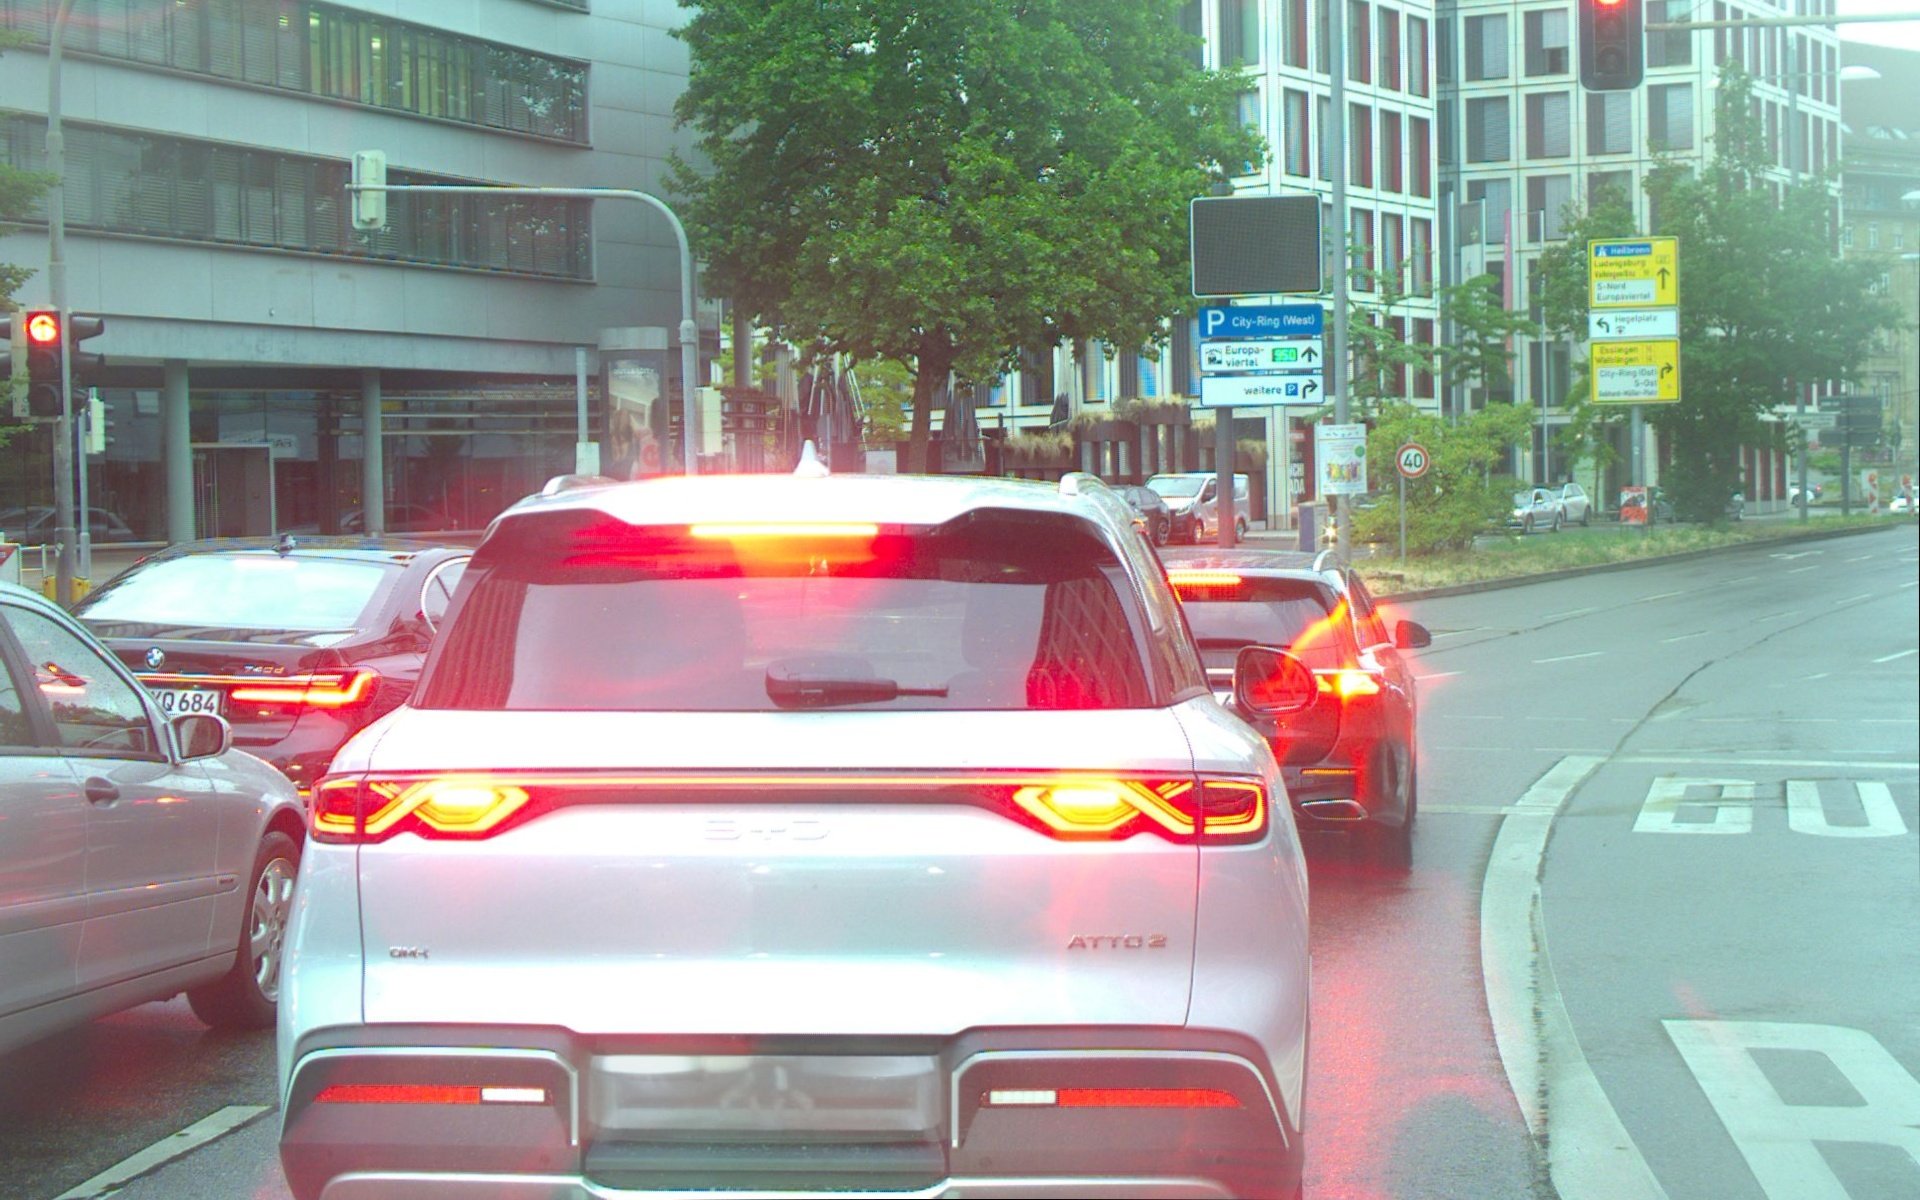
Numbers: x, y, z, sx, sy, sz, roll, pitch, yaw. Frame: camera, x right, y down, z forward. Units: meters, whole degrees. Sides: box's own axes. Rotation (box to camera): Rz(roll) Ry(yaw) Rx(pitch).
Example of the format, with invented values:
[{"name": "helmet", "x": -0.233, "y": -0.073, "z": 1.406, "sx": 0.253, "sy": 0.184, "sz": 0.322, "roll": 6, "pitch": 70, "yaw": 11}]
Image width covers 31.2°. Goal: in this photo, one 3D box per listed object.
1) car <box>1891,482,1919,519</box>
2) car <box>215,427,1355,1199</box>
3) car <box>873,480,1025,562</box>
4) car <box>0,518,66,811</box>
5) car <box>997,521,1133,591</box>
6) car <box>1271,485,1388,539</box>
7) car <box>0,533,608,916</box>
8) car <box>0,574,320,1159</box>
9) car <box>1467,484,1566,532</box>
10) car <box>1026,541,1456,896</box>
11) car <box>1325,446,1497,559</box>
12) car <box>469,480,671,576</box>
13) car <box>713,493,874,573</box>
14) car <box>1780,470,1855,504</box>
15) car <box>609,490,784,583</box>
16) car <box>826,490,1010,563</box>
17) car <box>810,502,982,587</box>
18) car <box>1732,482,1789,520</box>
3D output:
[{"name": "car", "x": 38.202, "y": -3.984, "z": 136.930, "sx": 1.633, "sy": 1.432, "sz": 3.903, "roll": 0, "pitch": 2, "yaw": 23}, {"name": "car", "x": -0.229, "y": 0.555, "z": 7.387, "sx": 1.776, "sy": 1.673, "sz": 4.000, "roll": 1, "pitch": 1, "yaw": 2}, {"name": "car", "x": -0.176, "y": -1.578, "z": 68.598, "sx": 1.645, "sy": 1.575, "sz": 4.081, "roll": 1, "pitch": 1, "yaw": 21}, {"name": "car", "x": -5.877, "y": 0.326, "z": 16.282, "sx": 1.707, "sy": 1.481, "sz": 3.998, "roll": 1, "pitch": 1, "yaw": 9}, {"name": "car", "x": 2.522, "y": -1.068, "z": 81.228, "sx": 1.633, "sy": 1.553, "sz": 4.588, "roll": 0, "pitch": 2, "yaw": 23}, {"name": "car", "x": 10.466, "y": -2.492, "z": 97.133, "sx": 1.996, "sy": 1.483, "sz": 3.994, "roll": 1, "pitch": 2, "yaw": 27}, {"name": "car", "x": -2.797, "y": 0.469, "z": 15.520, "sx": 1.571, "sy": 1.481, "sz": 3.999, "roll": 1, "pitch": 1, "yaw": 6}, {"name": "car", "x": -3.039, "y": 0.638, "z": 8.902, "sx": 1.571, "sy": 1.402, "sz": 4.108, "roll": 1, "pitch": 1, "yaw": 7}, {"name": "car", "x": 17.882, "y": -2.971, "z": 110.377, "sx": 1.996, "sy": 1.483, "sz": 3.994, "roll": 1, "pitch": 2, "yaw": 27}, {"name": "car", "x": 1.472, "y": 0.482, "z": 16.644, "sx": 1.694, "sy": 1.481, "sz": 3.998, "roll": 1, "pitch": 1, "yaw": 10}, {"name": "car", "x": 8.559, "y": -1.806, "z": 64.933, "sx": 1.996, "sy": 2.007, "sz": 4.843, "roll": 1, "pitch": 1, "yaw": 23}, {"name": "car", "x": -6.965, "y": -1.302, "z": 61.756, "sx": 1.996, "sy": 1.605, "sz": 3.996, "roll": 2, "pitch": 2, "yaw": 20}, {"name": "car", "x": -3.344, "y": -1.339, "z": 69.608, "sx": 1.640, "sy": 1.565, "sz": 3.713, "roll": 1, "pitch": 1, "yaw": 26}, {"name": "car", "x": 49.970, "y": -6.584, "z": 200.330, "sx": 3.991, "sy": 2.007, "sz": 1.998, "roll": 1, "pitch": 1, "yaw": 20}, {"name": "car", "x": -4.499, "y": -1.105, "z": 59.341, "sx": 1.645, "sy": 1.530, "sz": 4.149, "roll": 1, "pitch": 1, "yaw": 16}, {"name": "car", "x": -0.865, "y": -1.615, "z": 74.644, "sx": 1.816, "sy": 1.505, "sz": 5.189, "roll": 0, "pitch": 2, "yaw": 27}, {"name": "car", "x": -1.057, "y": -0.927, "z": 58.645, "sx": 1.692, "sy": 1.380, "sz": 3.865, "roll": 1, "pitch": 1, "yaw": 19}, {"name": "car", "x": 38.147, "y": -4.703, "z": 163.737, "sx": 1.609, "sy": 1.735, "sz": 3.439, "roll": 1, "pitch": 1, "yaw": 32}]
